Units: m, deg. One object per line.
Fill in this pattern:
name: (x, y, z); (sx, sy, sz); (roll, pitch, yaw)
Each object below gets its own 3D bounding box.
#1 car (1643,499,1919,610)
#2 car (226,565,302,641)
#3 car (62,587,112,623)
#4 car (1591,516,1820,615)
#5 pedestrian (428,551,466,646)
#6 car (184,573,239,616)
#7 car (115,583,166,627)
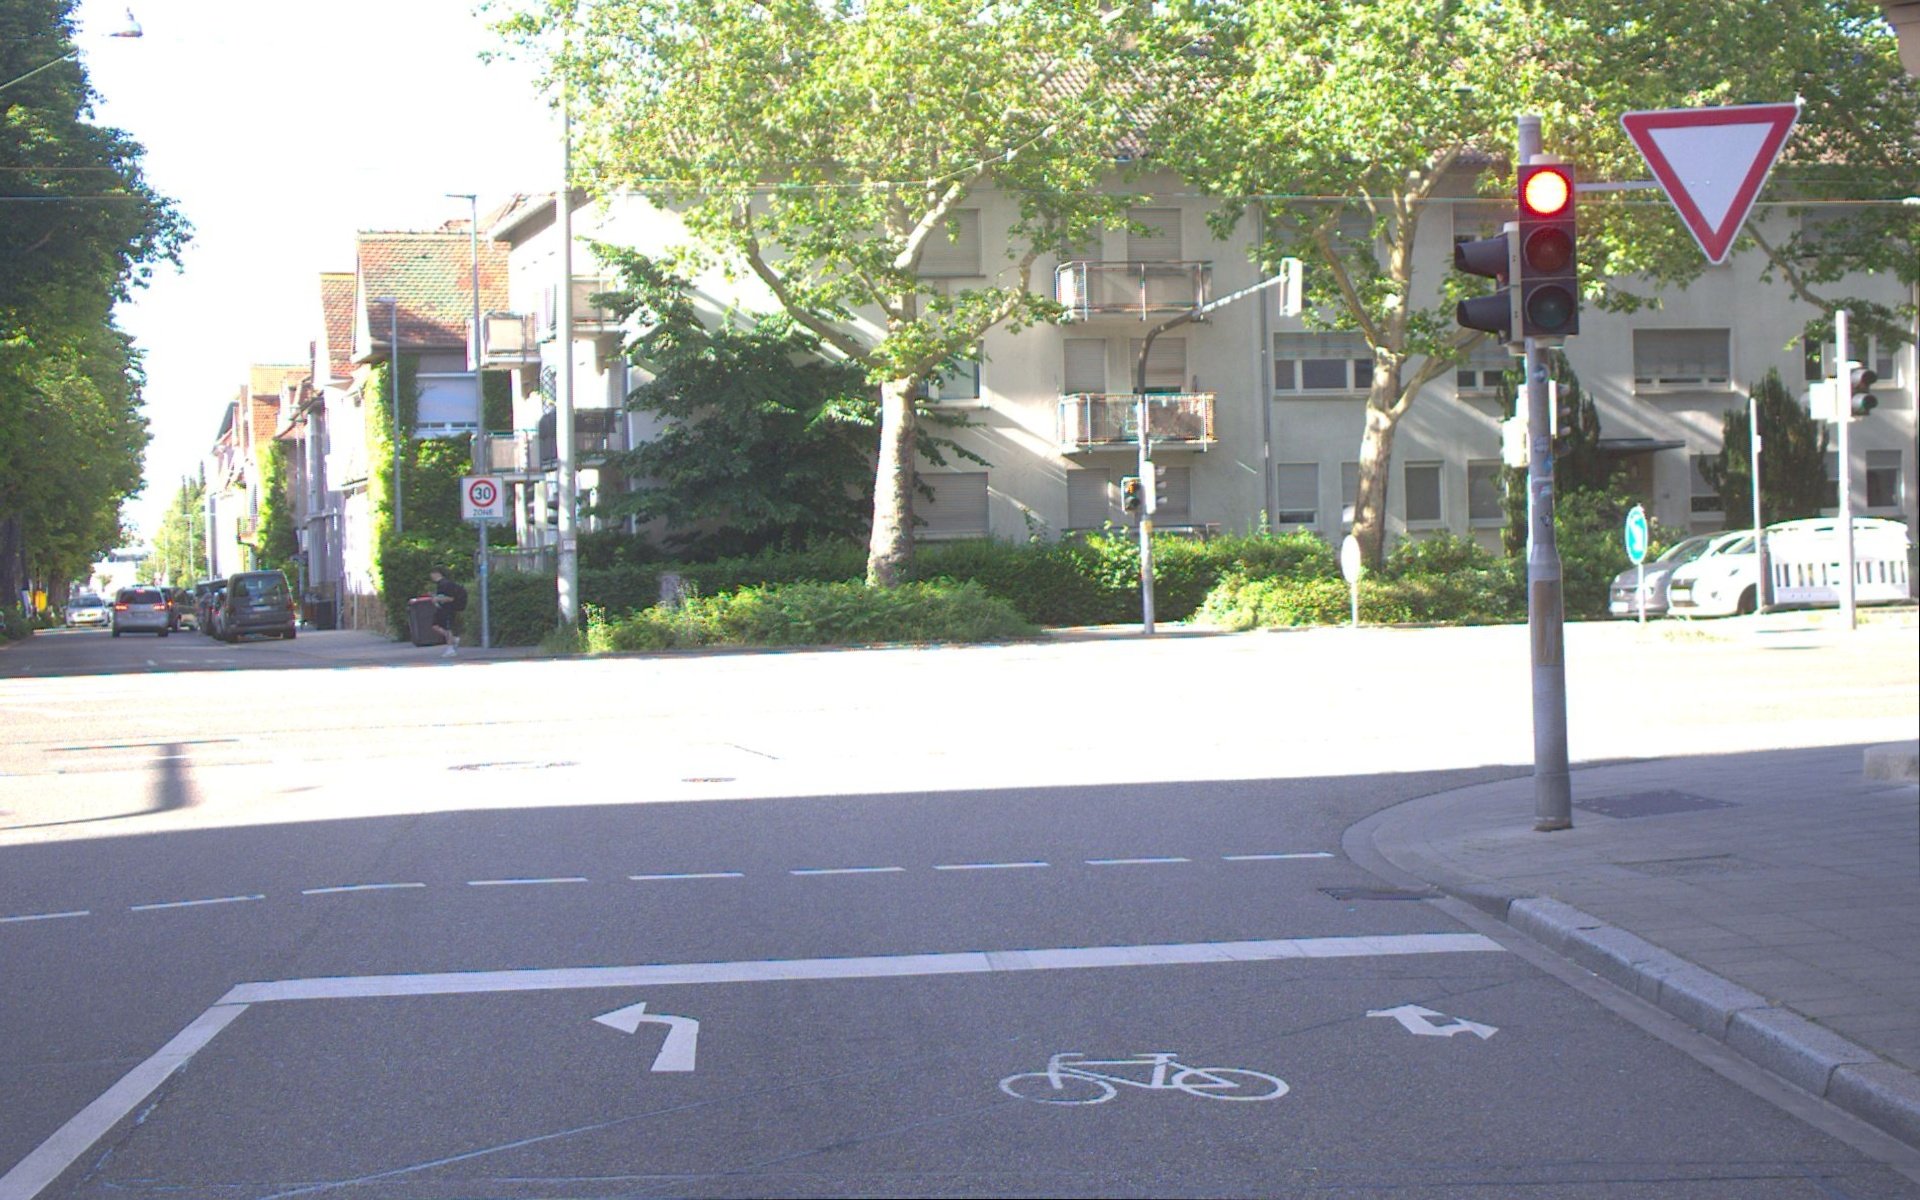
car: (11.984, -0.670, 49.807); (3.786, 1.467, 1.630); (-2, 1, -21)
car: (-19.719, 0.057, 97.488); (1.993, 2.007, 4.001); (-2, 1, -11)
car: (-37.982, 0.195, 149.582); (1.993, 1.441, 4.001); (-2, 1, -15)
car: (12.263, -0.577, 56.547); (3.379, 1.482, 1.525); (-2, 1, -23)
pedestrian: (-9.424, -0.030, 63.199); (0.633, 1.744, 0.659); (-1, 0, -5)
car: (-32.414, -0.249, 148.805); (1.993, 1.826, 4.001); (-1, 0, -17)
car: (-28.198, 0.155, 118.310); (1.673, 1.477, 3.523); (-1, 0, -14)
